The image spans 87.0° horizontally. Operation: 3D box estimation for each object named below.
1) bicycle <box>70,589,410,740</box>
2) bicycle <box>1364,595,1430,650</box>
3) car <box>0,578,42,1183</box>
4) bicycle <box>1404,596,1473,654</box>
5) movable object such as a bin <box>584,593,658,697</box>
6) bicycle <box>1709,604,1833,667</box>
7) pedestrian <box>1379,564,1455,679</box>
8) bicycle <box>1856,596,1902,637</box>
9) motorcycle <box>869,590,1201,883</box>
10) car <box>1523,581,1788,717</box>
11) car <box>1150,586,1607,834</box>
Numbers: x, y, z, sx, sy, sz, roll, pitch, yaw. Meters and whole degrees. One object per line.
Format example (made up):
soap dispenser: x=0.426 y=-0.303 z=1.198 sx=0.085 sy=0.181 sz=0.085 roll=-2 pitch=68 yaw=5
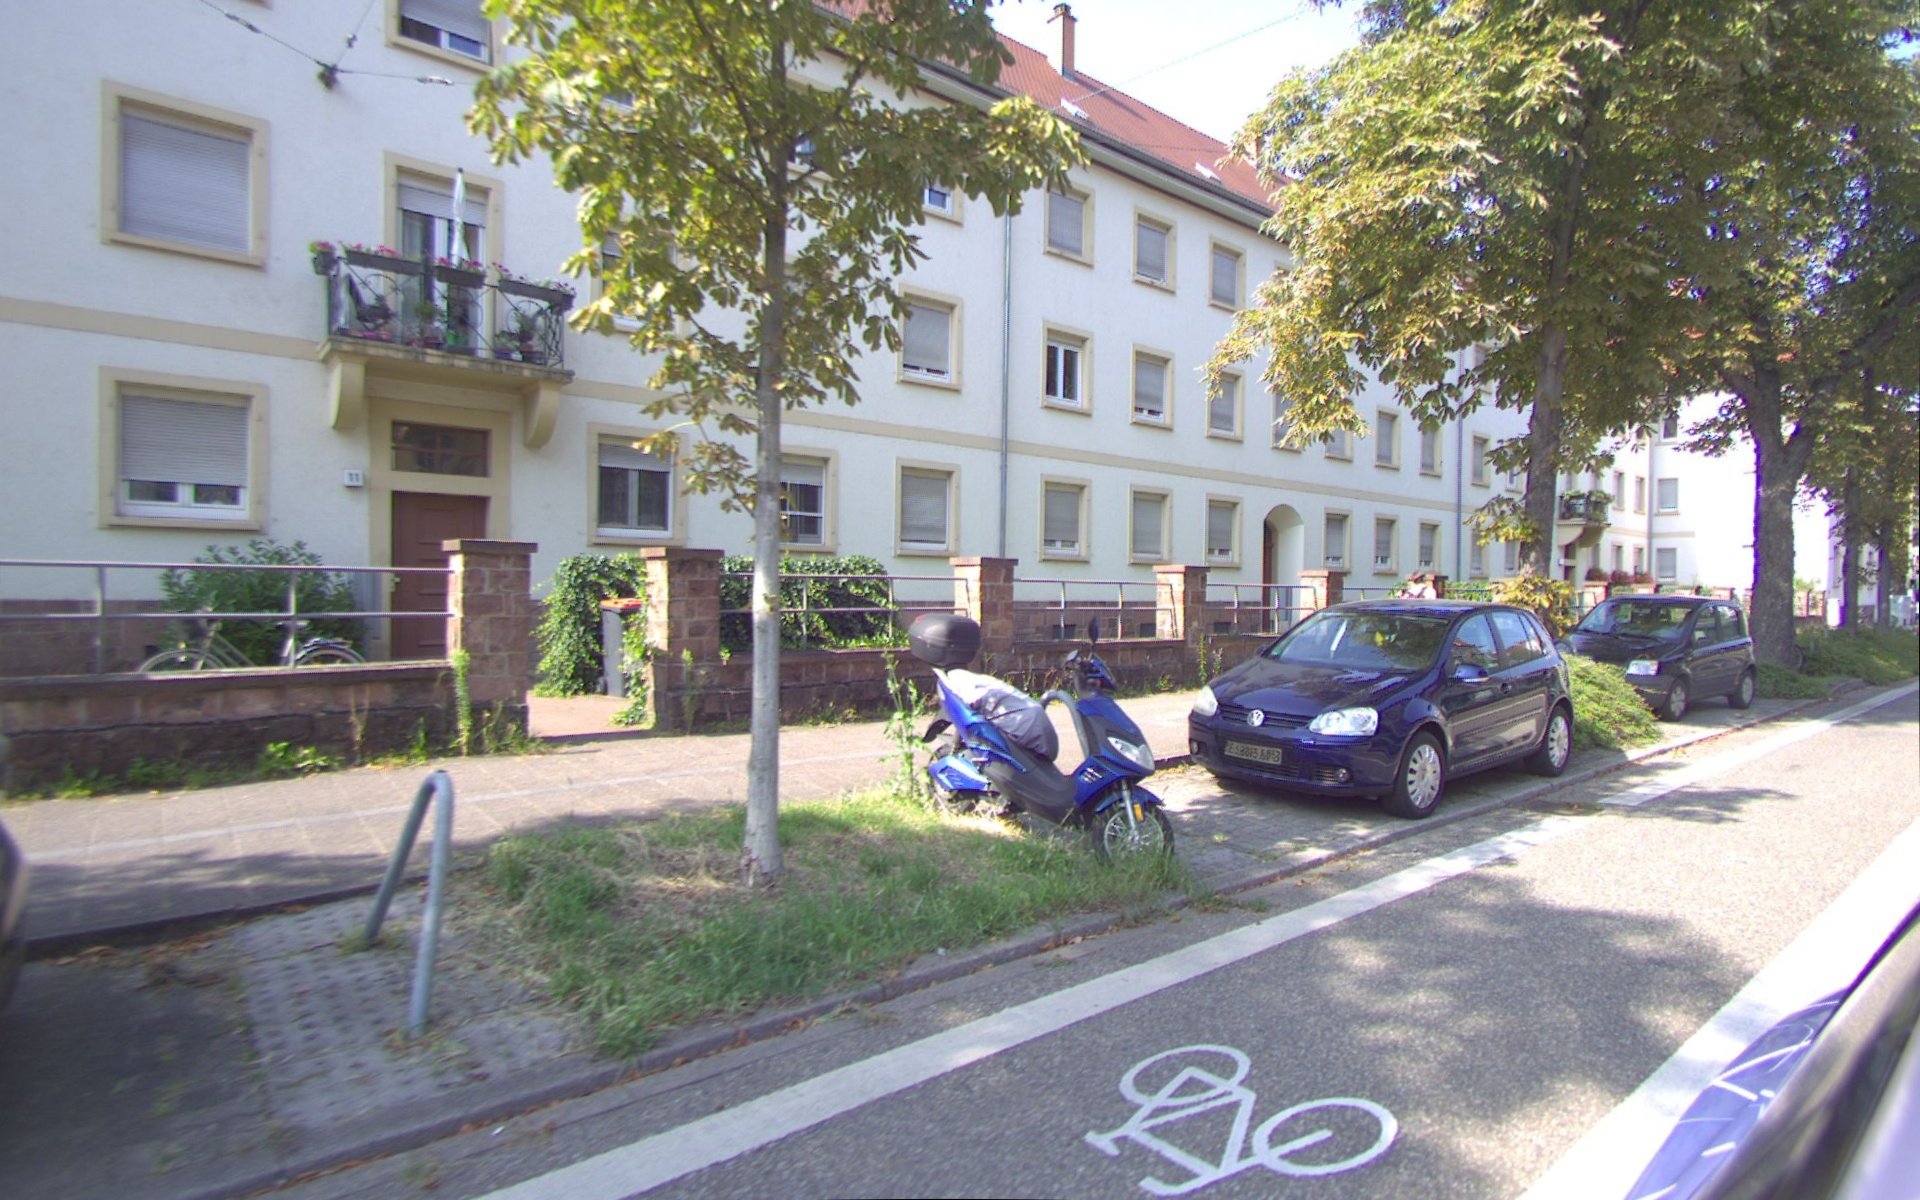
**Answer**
bicycle: x=-6.047 y=0.470 z=8.612 sx=2.293 sy=1.117 sz=0.773 roll=0 pitch=1 yaw=-42
bicycle: x=9.038 y=0.441 z=20.889 sx=1.697 sy=1.086 sz=0.525 roll=-1 pitch=0 yaw=-39
car: x=-4.479 y=0.720 z=1.702 sx=4.260 sy=1.452 sz=1.694 roll=-1 pitch=4 yaw=-40
bicycle: x=9.351 y=0.464 z=19.757 sx=1.697 sy=1.086 sz=0.525 roll=-1 pitch=0 yaw=-39
movable object such as a bin: x=-3.725 y=0.474 z=11.119 sx=0.648 sy=1.083 sz=0.508 roll=0 pitch=1 yaw=-39
bicycle: x=14.228 y=0.614 z=17.774 sx=1.697 sy=1.087 sz=0.525 roll=0 pitch=0 yaw=3
pedestrian: x=7.262 y=0.326 z=16.088 sx=0.861 sy=1.771 sz=0.755 roll=0 pitch=0 yaw=-33
bicycle: x=26.723 y=0.459 z=29.415 sx=2.293 sy=1.117 sz=0.773 roll=0 pitch=1 yaw=-42
motorcycle: x=0.362 y=0.690 z=5.902 sx=0.692 sy=1.306 sz=1.858 roll=6 pitch=0 yaw=-42
car: x=9.469 y=0.552 z=13.716 sx=3.768 sy=1.559 sz=1.652 roll=-1 pitch=3 yaw=-34
car: x=3.563 y=0.657 z=8.256 sx=4.170 sy=1.466 sz=1.649 roll=-1 pitch=3 yaw=-39
